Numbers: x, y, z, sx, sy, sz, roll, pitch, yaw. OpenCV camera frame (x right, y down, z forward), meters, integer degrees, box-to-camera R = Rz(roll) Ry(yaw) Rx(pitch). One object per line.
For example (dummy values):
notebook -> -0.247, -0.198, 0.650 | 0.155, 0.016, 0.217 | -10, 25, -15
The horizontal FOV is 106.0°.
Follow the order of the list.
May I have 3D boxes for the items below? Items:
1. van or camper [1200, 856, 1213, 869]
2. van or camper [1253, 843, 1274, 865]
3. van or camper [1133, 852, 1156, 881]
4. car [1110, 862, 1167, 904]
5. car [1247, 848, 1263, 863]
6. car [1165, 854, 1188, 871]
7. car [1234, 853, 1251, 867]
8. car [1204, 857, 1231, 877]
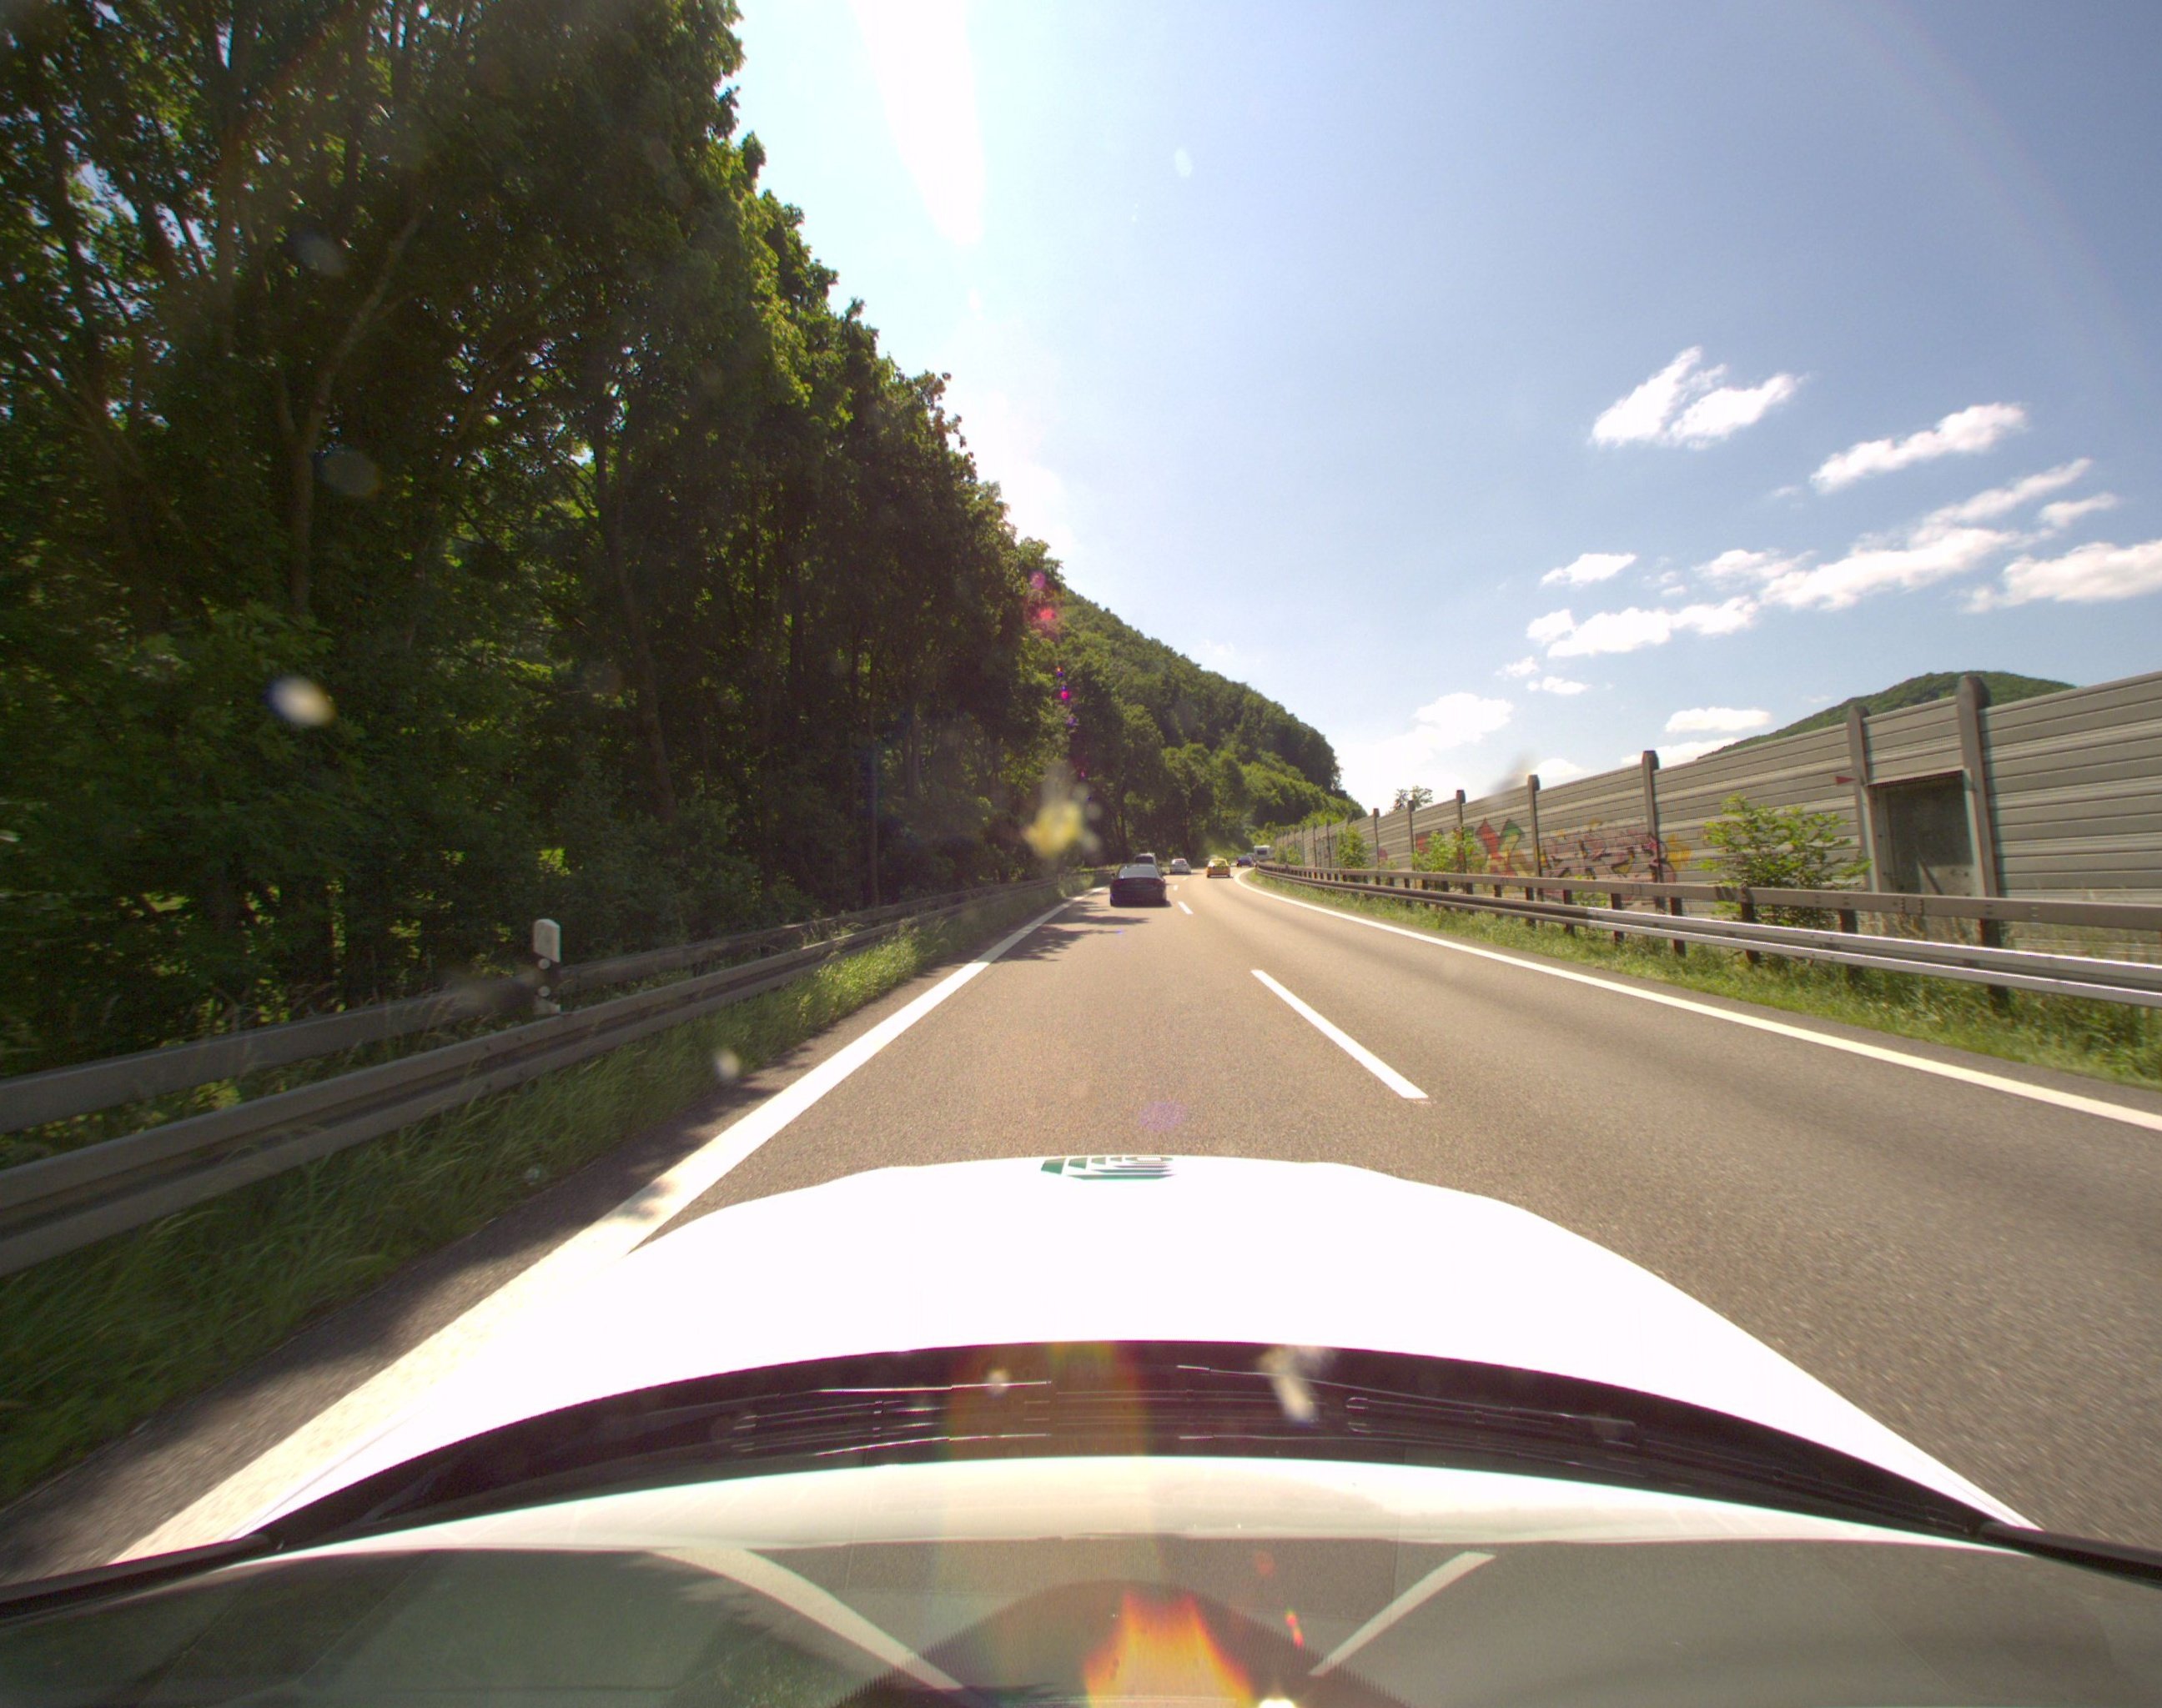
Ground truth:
van or camper -> 16.385, 1.106, 106.246 | 1.548, 1.534, 3.514 | -2, -1, 9
van or camper -> 27.346, 0.035, 121.843 | 2.436, 2.918, 6.153 | -5, -2, 17
van or camper -> 4.267, 0.831, 54.638 | 1.385, 1.816, 4.005 | -2, -1, 5
car -> 1.964, 0.965, 28.238 | 1.830, 1.349, 4.003 | 0, -1, 3
car -> 28.391, 0.259, 132.899 | 1.978, 2.013, 4.018 | -8, -3, 17
car -> 8.605, 0.759, 73.689 | 1.740, 1.431, 4.001 | -2, -1, 1
car -> 20.368, 0.767, 102.854 | 1.764, 1.637, 4.008 | -3, -1, 7
car -> 10.658, 1.018, 63.778 | 1.852, 1.488, 4.008 | -2, -1, 7
